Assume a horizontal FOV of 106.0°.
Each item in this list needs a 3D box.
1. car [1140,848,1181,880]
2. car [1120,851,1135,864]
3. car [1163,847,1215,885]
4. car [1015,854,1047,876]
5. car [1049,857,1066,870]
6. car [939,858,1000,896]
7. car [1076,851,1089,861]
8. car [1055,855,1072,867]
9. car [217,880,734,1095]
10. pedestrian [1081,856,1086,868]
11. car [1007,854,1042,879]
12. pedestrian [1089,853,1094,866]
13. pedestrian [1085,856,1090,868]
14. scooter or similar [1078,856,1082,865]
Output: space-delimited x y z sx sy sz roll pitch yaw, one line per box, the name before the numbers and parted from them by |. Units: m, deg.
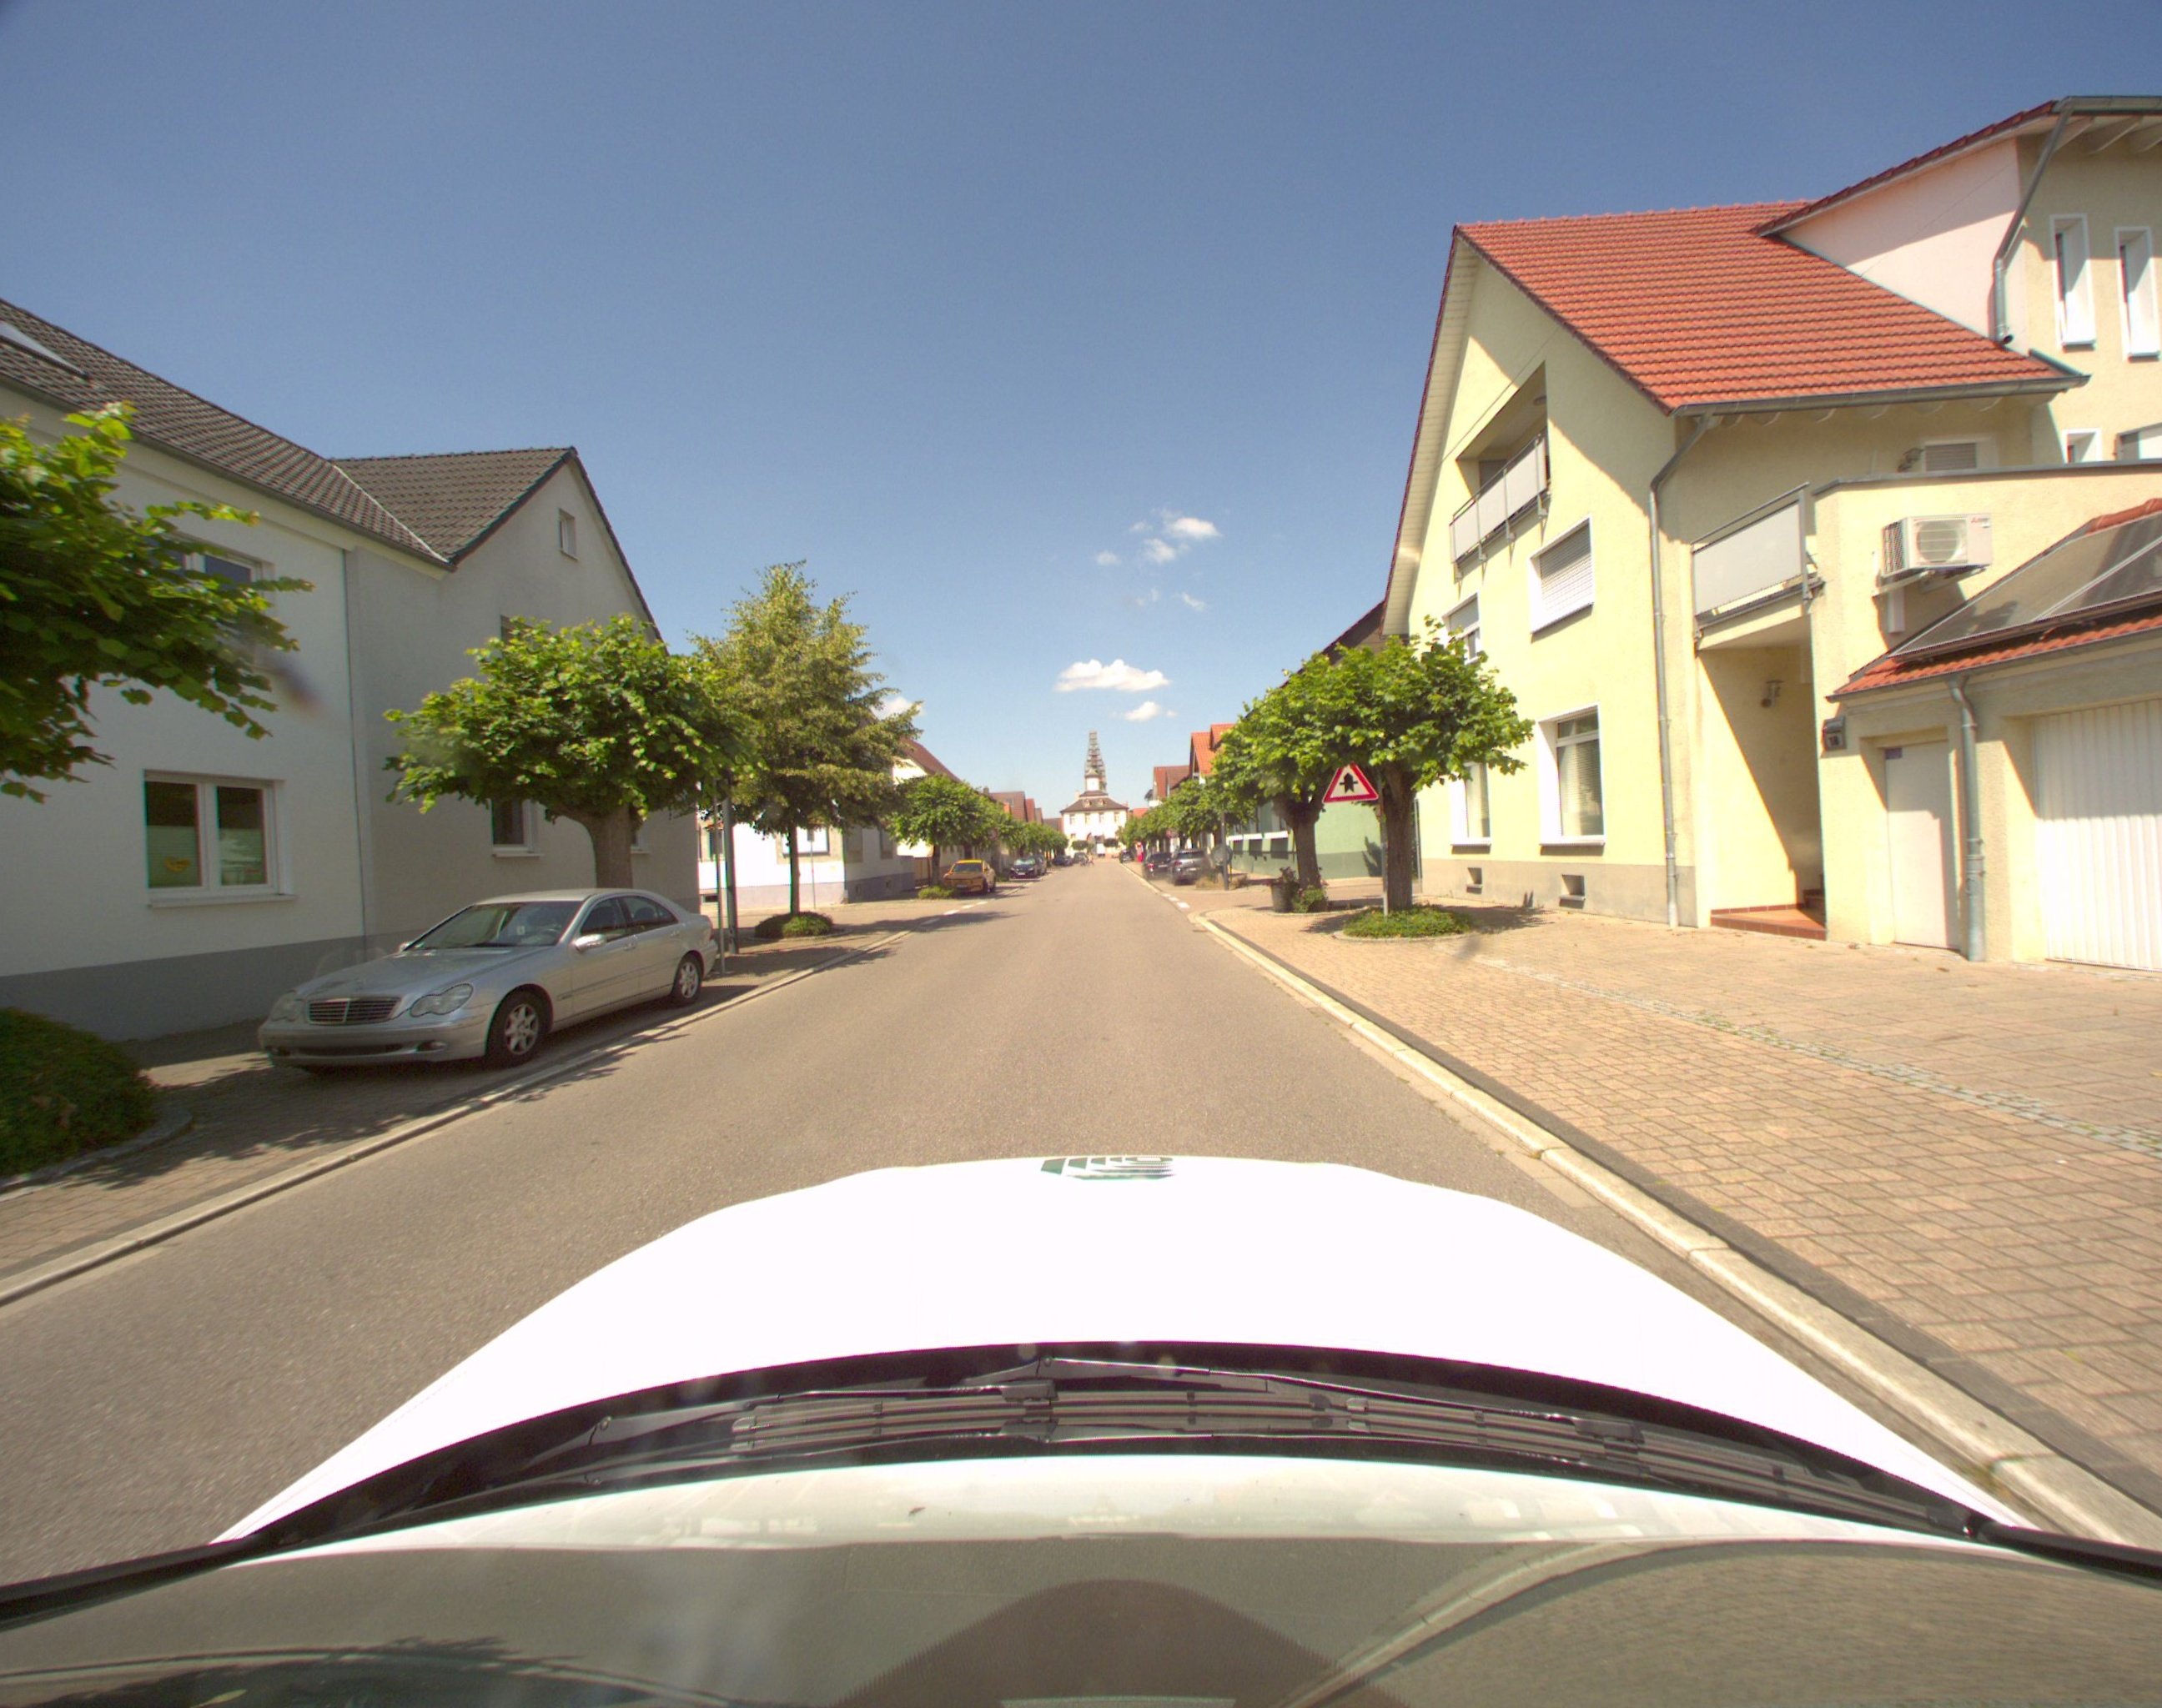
car | 4.326 0.516 45.004 1.831 1.555 4.314 -4 0 1
car | 6.178 0.518 108.128 1.830 1.555 4.315 -4 0 2
car | 4.898 0.527 37.383 1.831 1.607 3.999 -2 0 0
car | -3.926 0.892 64.932 1.986 1.611 4.691 -1 -1 2
car | -2.967 1.170 102.327 1.751 1.555 4.022 -3 0 2
car | -5.088 1.015 37.899 1.986 1.611 4.691 -1 0 2
car | 0.162 0.389 140.118 1.989 1.611 4.501 -1 -1 -3
car | -2.318 0.916 108.064 1.986 1.611 3.857 -1 -1 2
car | -5.422 1.054 8.229 1.834 1.396 4.407 -2 0 1
pedestrian | 0.256 0.914 93.787 0.354 1.403 0.322 -3 -1 38
car | -4.053 0.871 59.194 1.986 1.611 4.692 -1 0 2
pedestrian | 1.214 0.640 93.231 0.354 1.403 0.322 -3 -1 38
pedestrian | 0.727 0.910 94.113 0.354 1.403 0.322 -3 -1 38
scooter or similar | -0.112 0.766 94.001 0.326 1.003 0.243 -3 -1 38
